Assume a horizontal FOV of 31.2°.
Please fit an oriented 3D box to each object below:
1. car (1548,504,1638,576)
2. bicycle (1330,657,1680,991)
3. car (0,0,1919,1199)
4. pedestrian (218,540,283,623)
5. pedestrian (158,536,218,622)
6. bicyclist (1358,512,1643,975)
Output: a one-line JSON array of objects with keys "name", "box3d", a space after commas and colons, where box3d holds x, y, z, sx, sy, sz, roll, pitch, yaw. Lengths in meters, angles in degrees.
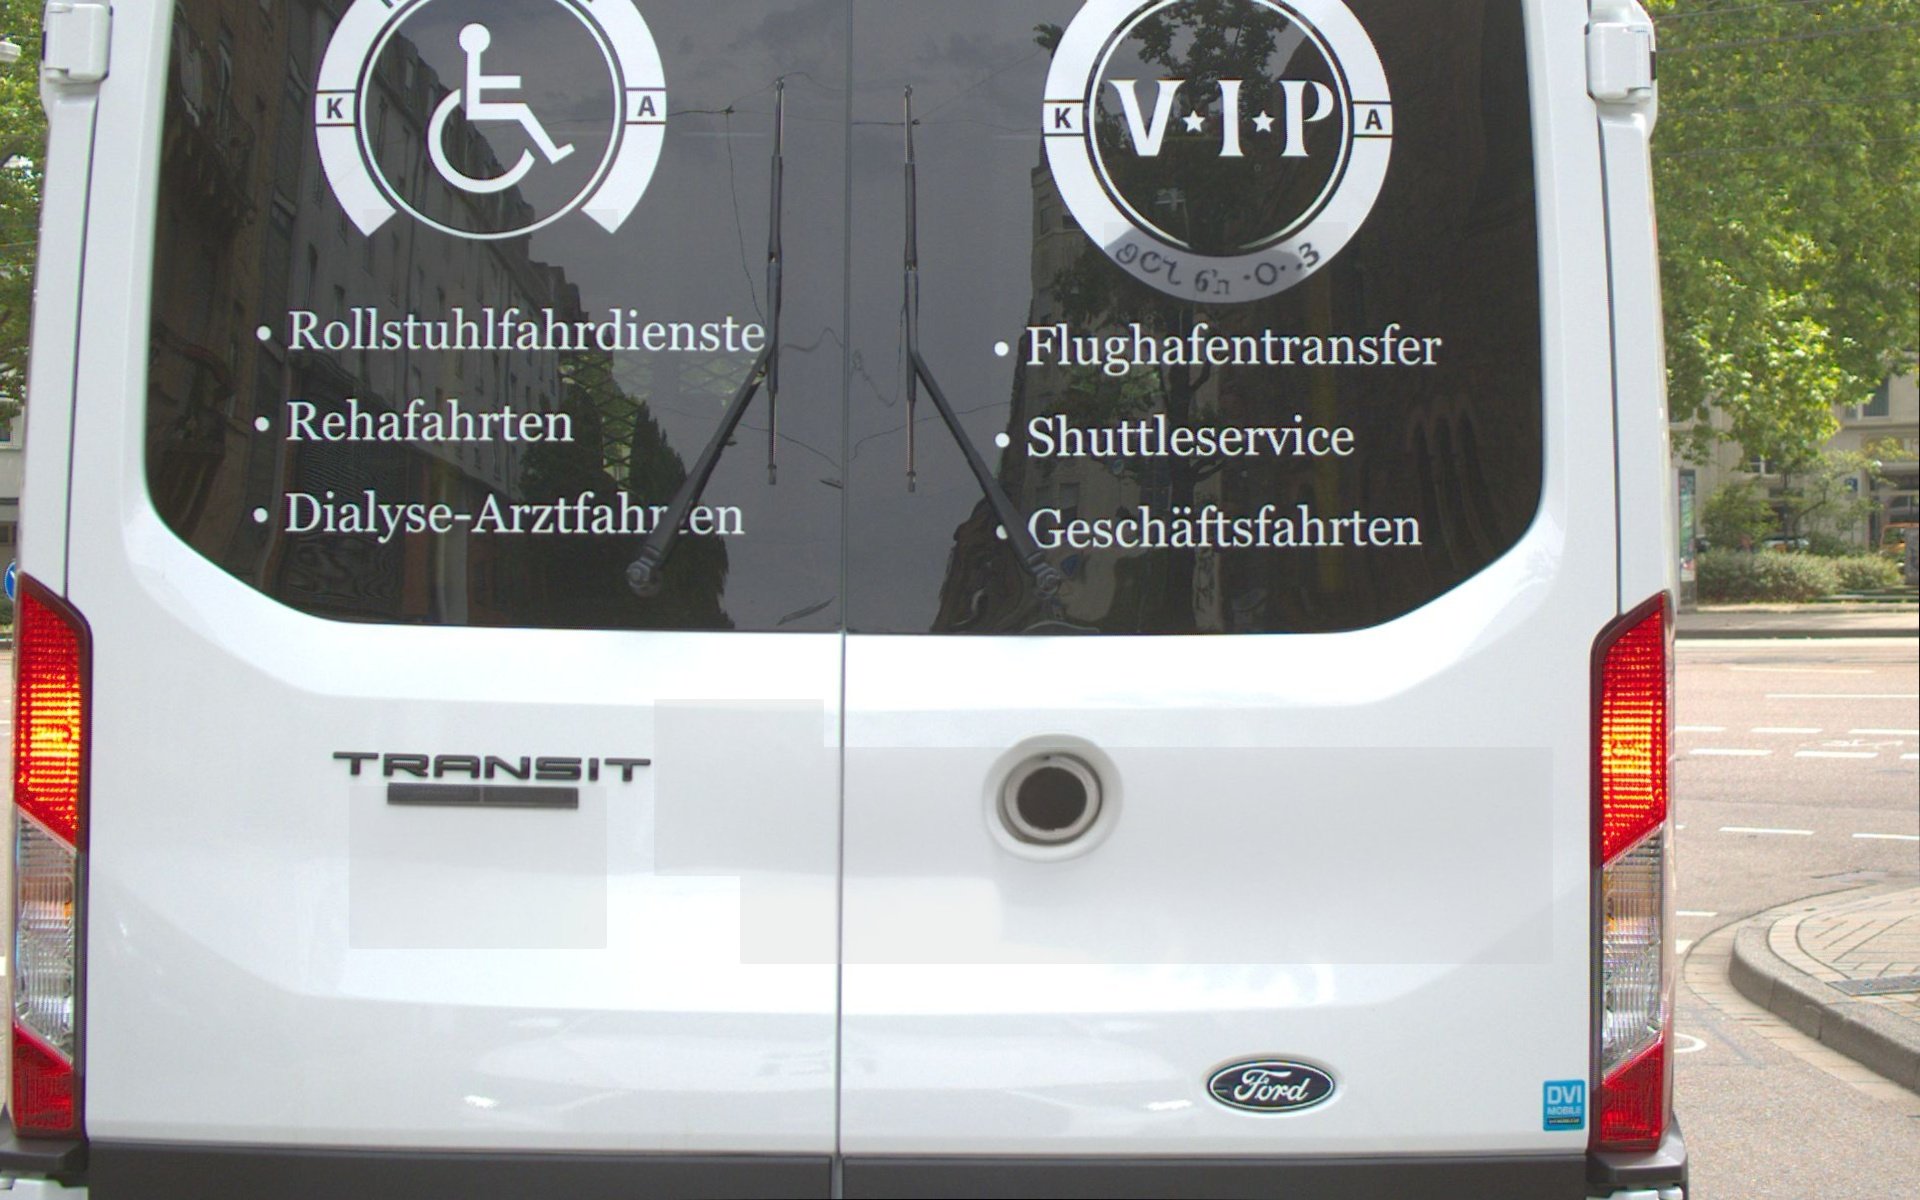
[{"name": "car", "box3d": [17.444, -1.665, 94.924, 1.994, 1.924, 4.000, -1, 1, 4]}, {"name": "bicycle", "box3d": [2.004, 0.796, 12.943, 0.902, 1.071, 1.970, -1, 1, -3]}, {"name": "car", "box3d": [-0.178, 0.056, 5.786, 2.181, 2.638, 4.629, 1, 2, -2]}, {"name": "pedestrian", "box3d": [-13.021, -0.339, 63.075, 0.930, 1.509, 0.723, 0, 1, 14]}, {"name": "pedestrian", "box3d": [-14.192, -0.383, 63.224, 0.807, 1.567, 0.723, 0, 1, 14]}, {"name": "bicyclist", "box3d": [2.014, 0.514, 12.895, 0.903, 1.677, 0.757, -1, 1, -3]}]
